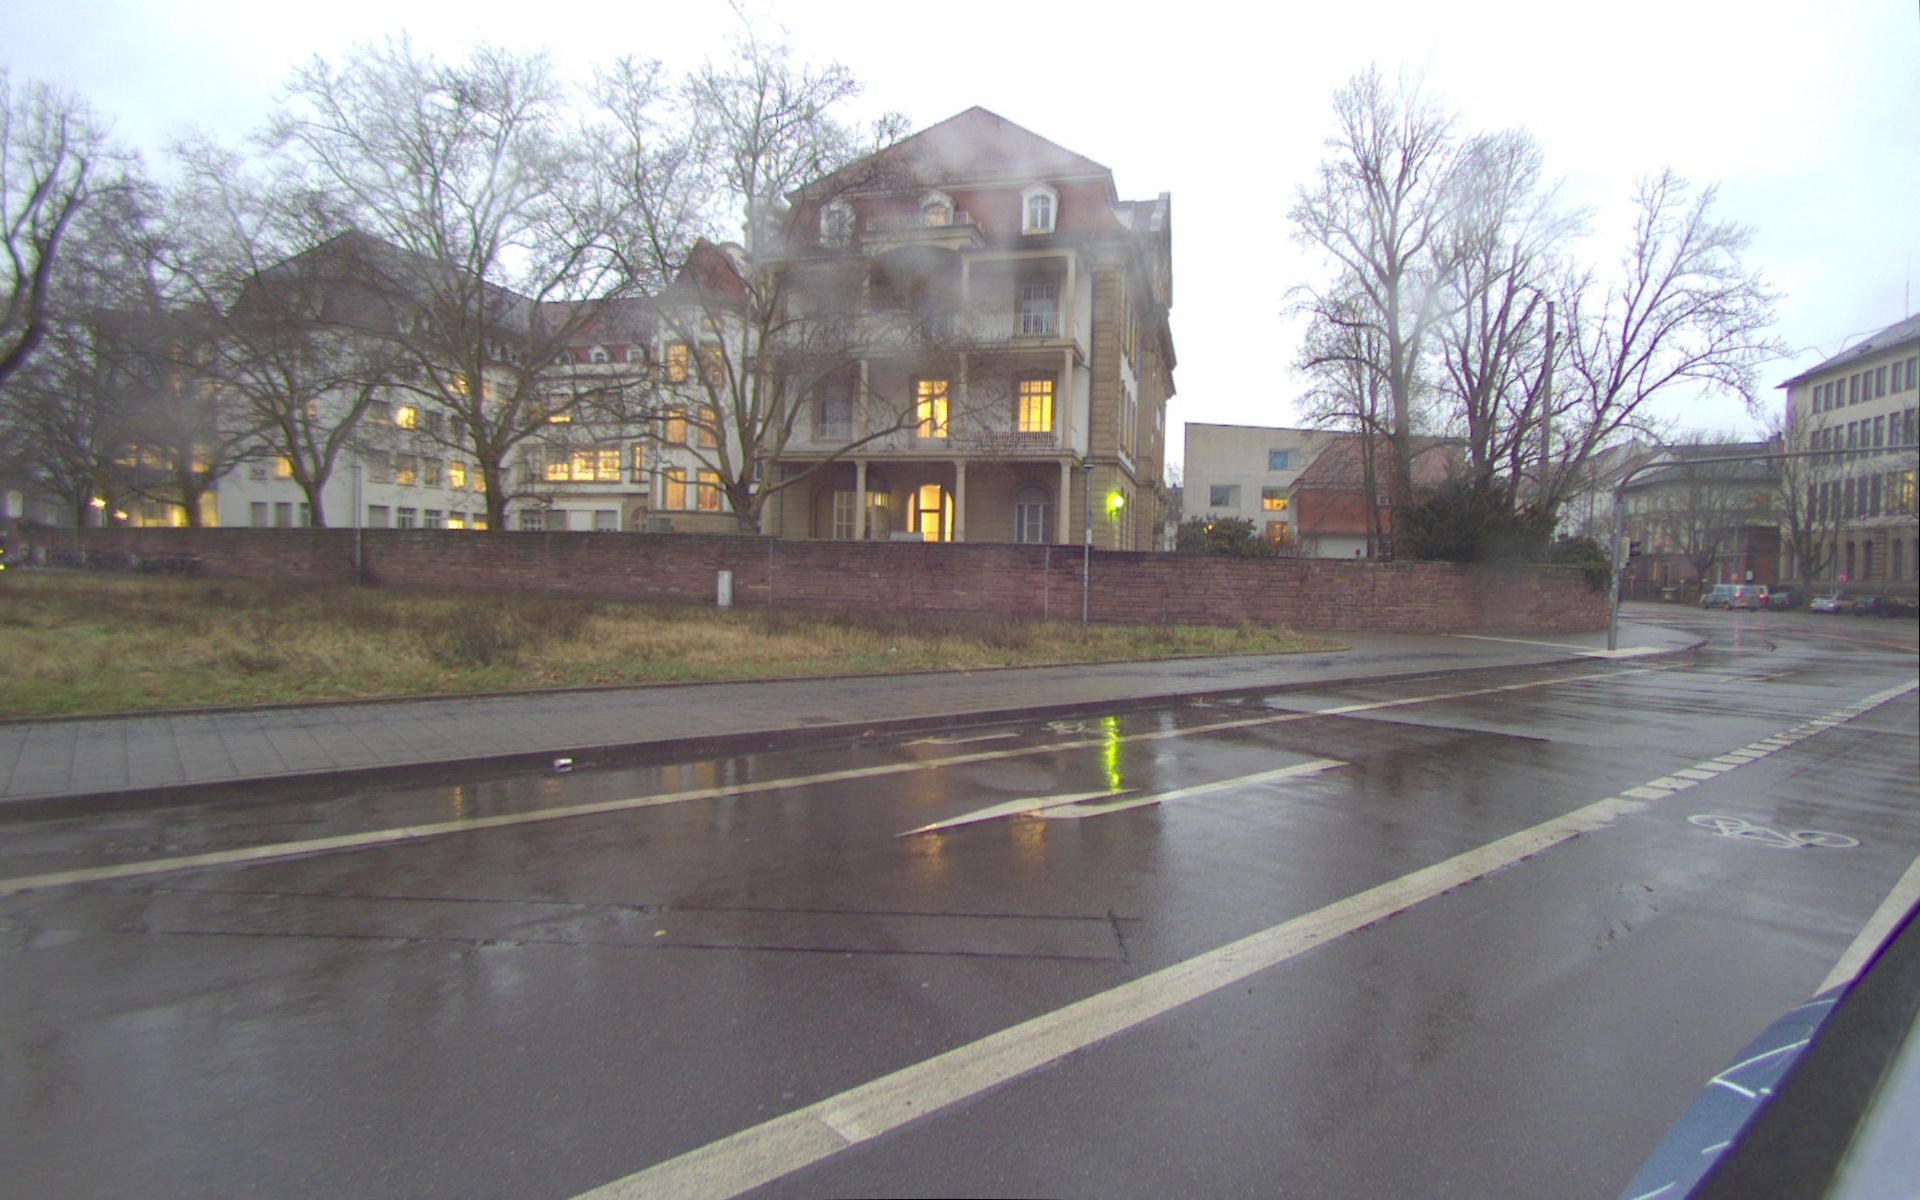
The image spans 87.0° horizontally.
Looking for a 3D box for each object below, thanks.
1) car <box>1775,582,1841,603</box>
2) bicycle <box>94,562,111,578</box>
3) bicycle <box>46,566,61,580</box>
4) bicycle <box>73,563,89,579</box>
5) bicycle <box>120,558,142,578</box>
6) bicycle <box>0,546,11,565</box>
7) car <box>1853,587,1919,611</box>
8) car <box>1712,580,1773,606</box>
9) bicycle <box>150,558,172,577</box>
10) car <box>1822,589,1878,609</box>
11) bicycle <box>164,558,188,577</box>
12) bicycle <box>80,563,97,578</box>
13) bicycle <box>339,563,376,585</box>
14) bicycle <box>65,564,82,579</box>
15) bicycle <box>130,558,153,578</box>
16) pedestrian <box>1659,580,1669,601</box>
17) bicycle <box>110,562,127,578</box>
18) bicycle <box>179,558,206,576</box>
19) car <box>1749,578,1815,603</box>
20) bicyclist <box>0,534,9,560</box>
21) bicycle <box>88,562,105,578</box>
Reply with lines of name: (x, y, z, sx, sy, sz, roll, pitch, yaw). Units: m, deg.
car: (64.701, -0.583, 77.227, 3.916, 1.570, 1.805, 0, 0, -13)
bicycle: (-43.129, -1.493, 50.897, 1.522, 0.796, 0.389, 0, 0, 38)
bicycle: (-51.608, -1.545, 57.594, 1.522, 0.796, 0.389, 0, 0, 38)
bicycle: (-46.671, -1.533, 53.720, 1.522, 0.796, 0.389, 0, 0, 38)
bicycle: (-39.907, -1.537, 48.722, 1.519, 0.928, 0.389, 0, 0, 33)
bicycle: (-61.149, -2.833, 64.552, 1.670, 1.182, 0.603, 0, 0, 37)
car: (61.964, -0.058, 67.007, 3.927, 1.570, 1.800, 0, 0, 4)
car: (58.745, -0.553, 76.060, 1.852, 1.868, 3.991, 0, 0, 8)
bicycle: (-37.029, -1.495, 46.886, 1.480, 0.849, 0.346, 0, 0, 32)
car: (63.604, -0.079, 72.302, 3.568, 1.322, 1.712, -1, 0, -25)
bicycle: (-35.549, -1.467, 45.860, 1.519, 0.796, 0.389, 0, 0, 33)
bicycle: (-45.440, -1.530, 52.742, 1.522, 0.796, 0.389, 0, 0, 38)
bicycle: (-23.383, -0.986, 39.272, 1.366, 0.835, 0.392, 0, 0, 14)
bicycle: (-47.894, -1.536, 54.675, 1.522, 0.796, 0.389, 0, 0, 38)
bicycle: (-38.625, -1.505, 47.769, 1.519, 0.869, 0.389, 0, 0, 33)
pedestrian: (67.708, -0.895, 97.303, 0.538, 2.038, 0.474, 2, 2, 9)
bicycle: (-41.473, -1.474, 49.877, 1.599, 0.796, 0.388, 0, 0, 41)
bicycle: (-34.209, -1.467, 45.111, 1.399, 0.796, 0.355, 0, 0, 26)
car: (64.982, -0.788, 80.025, 3.916, 1.924, 2.052, 0, 0, -13)
bicyclist: (-61.155, -3.367, 64.562, 0.450, 1.662, 0.603, 0, 0, 37)
bicycle: (-44.177, -1.528, 51.768, 1.522, 0.796, 0.389, 0, 0, 38)
